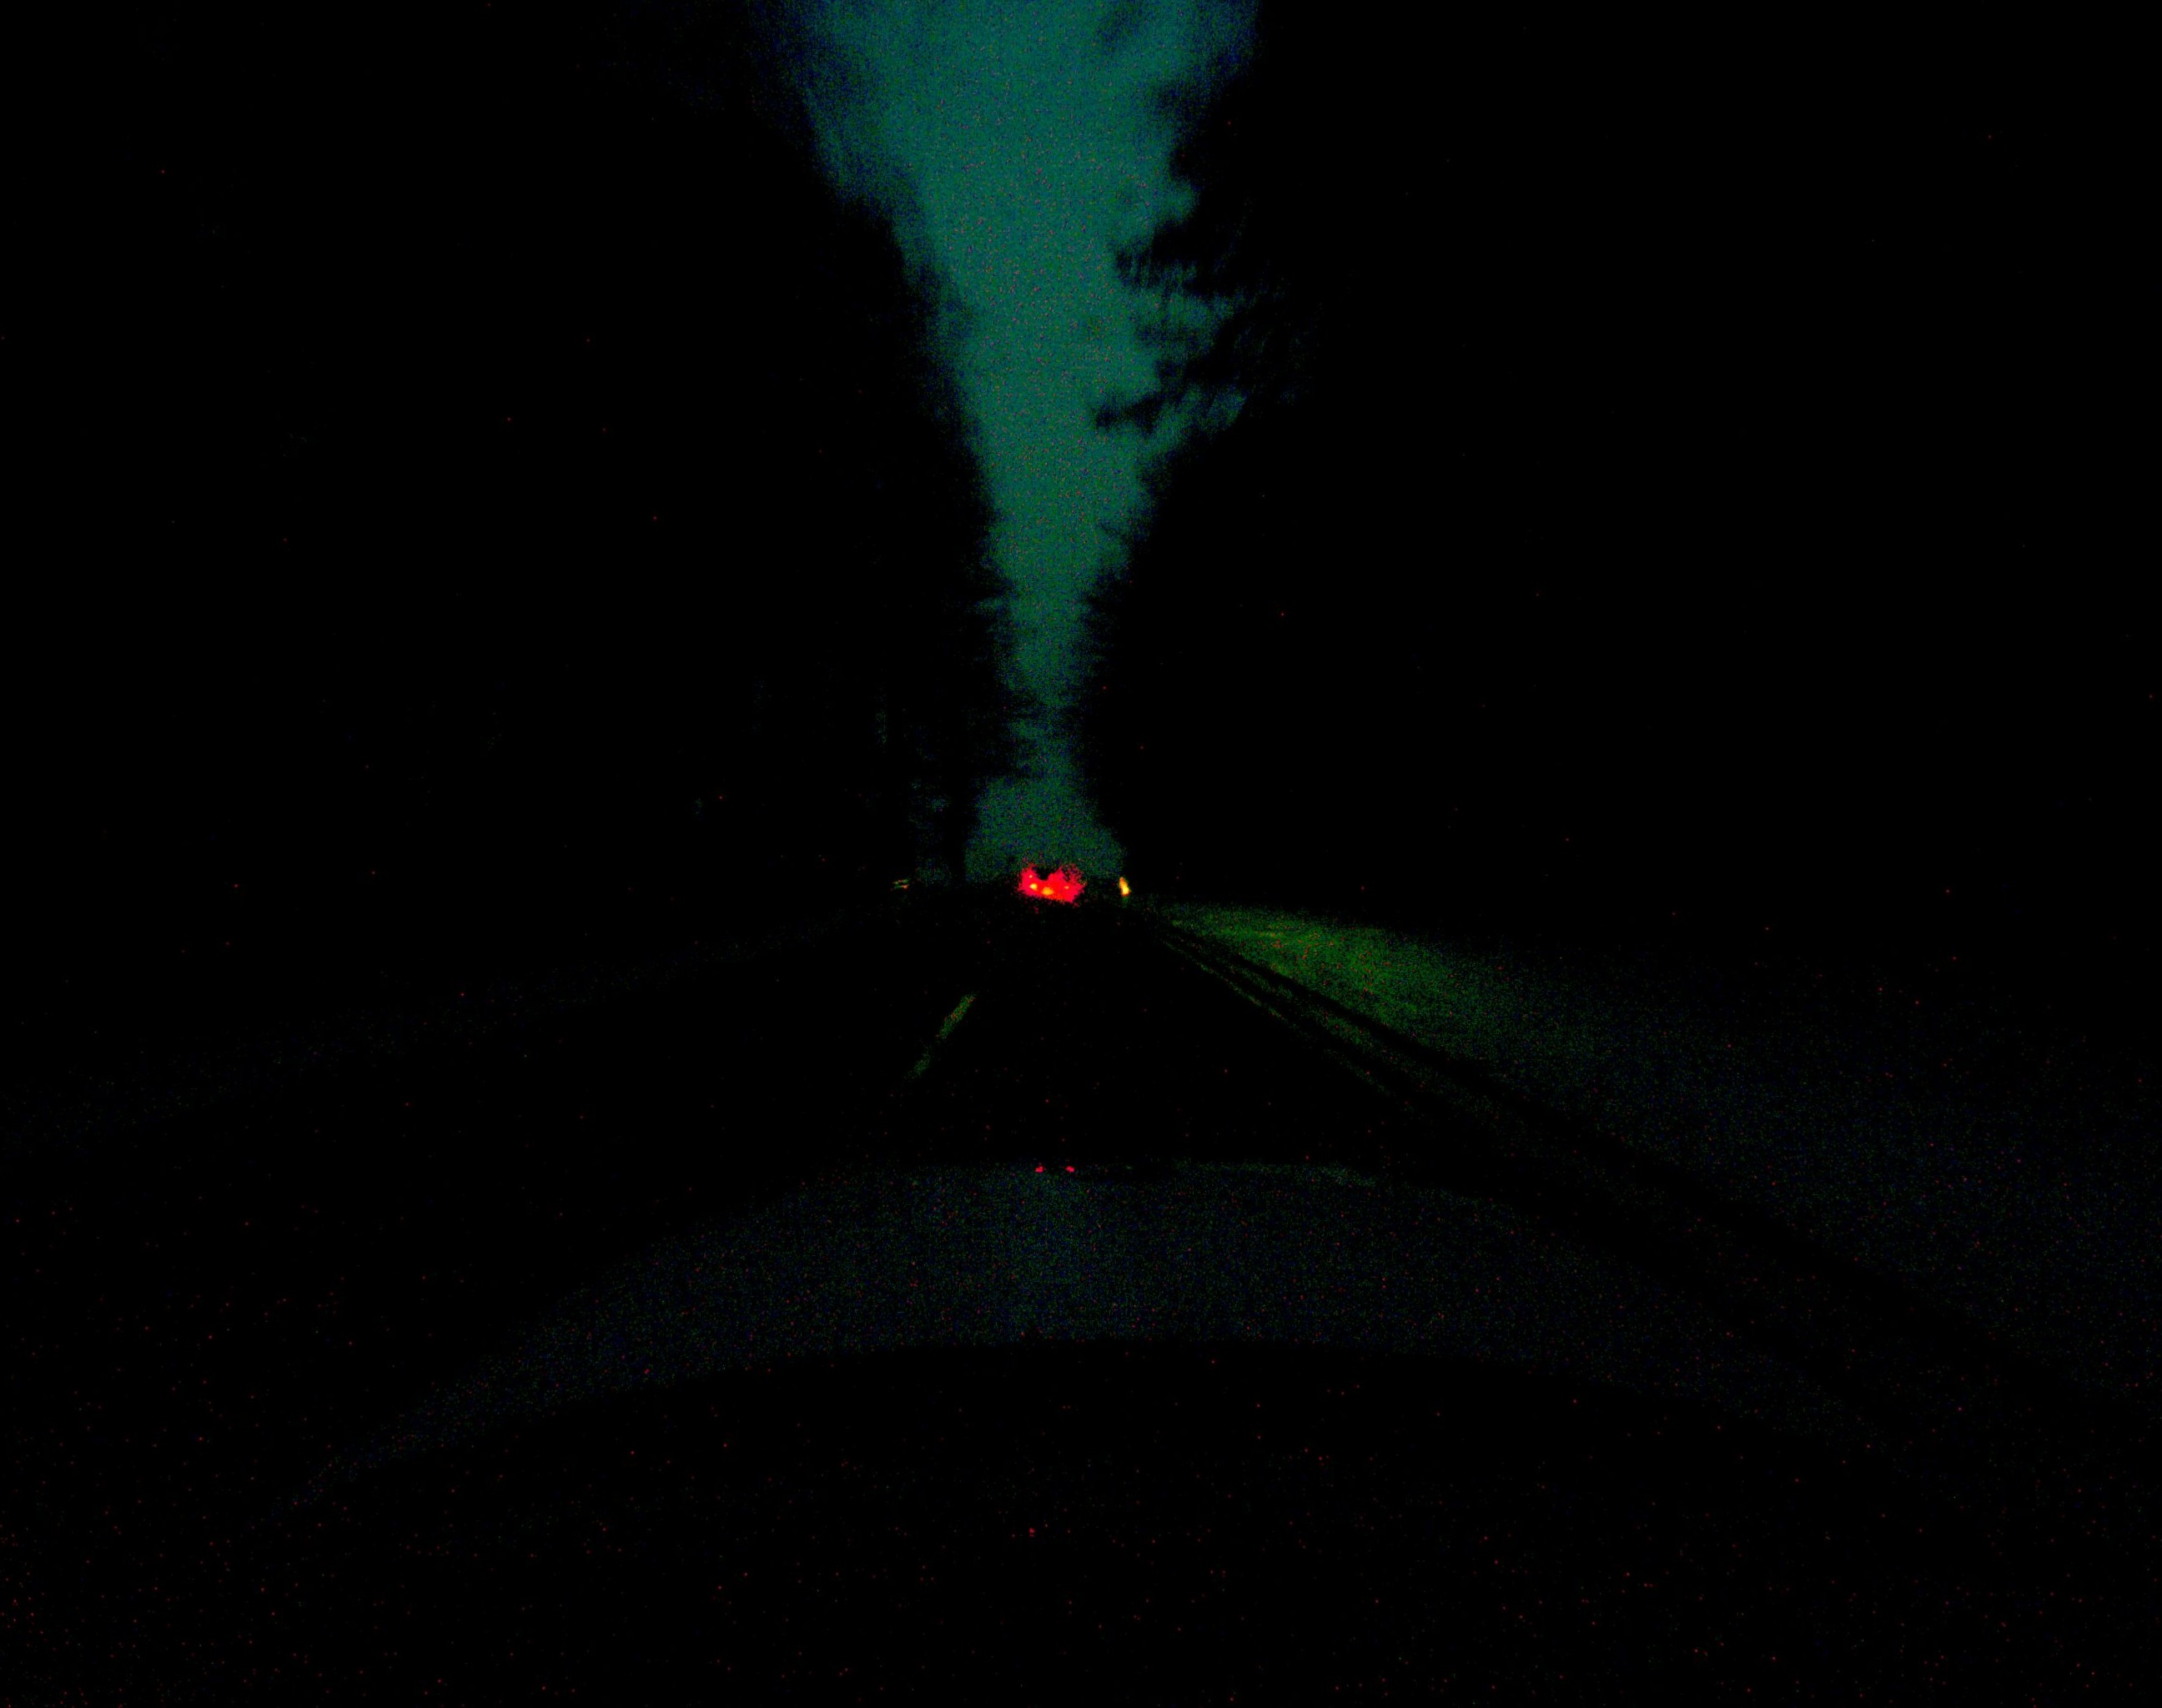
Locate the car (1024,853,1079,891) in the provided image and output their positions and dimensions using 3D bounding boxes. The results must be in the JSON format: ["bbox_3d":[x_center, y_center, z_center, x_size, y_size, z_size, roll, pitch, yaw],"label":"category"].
[{"bbox_3d":[-1.249,0.701,32.651,1.943,1.381,3.993,1,0,-5],"label":"car"}]

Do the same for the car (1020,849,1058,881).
[{"bbox_3d":[-2.550,0.658,48.809,1.991,1.783,3.992,3,-1,-6],"label":"car"}]
